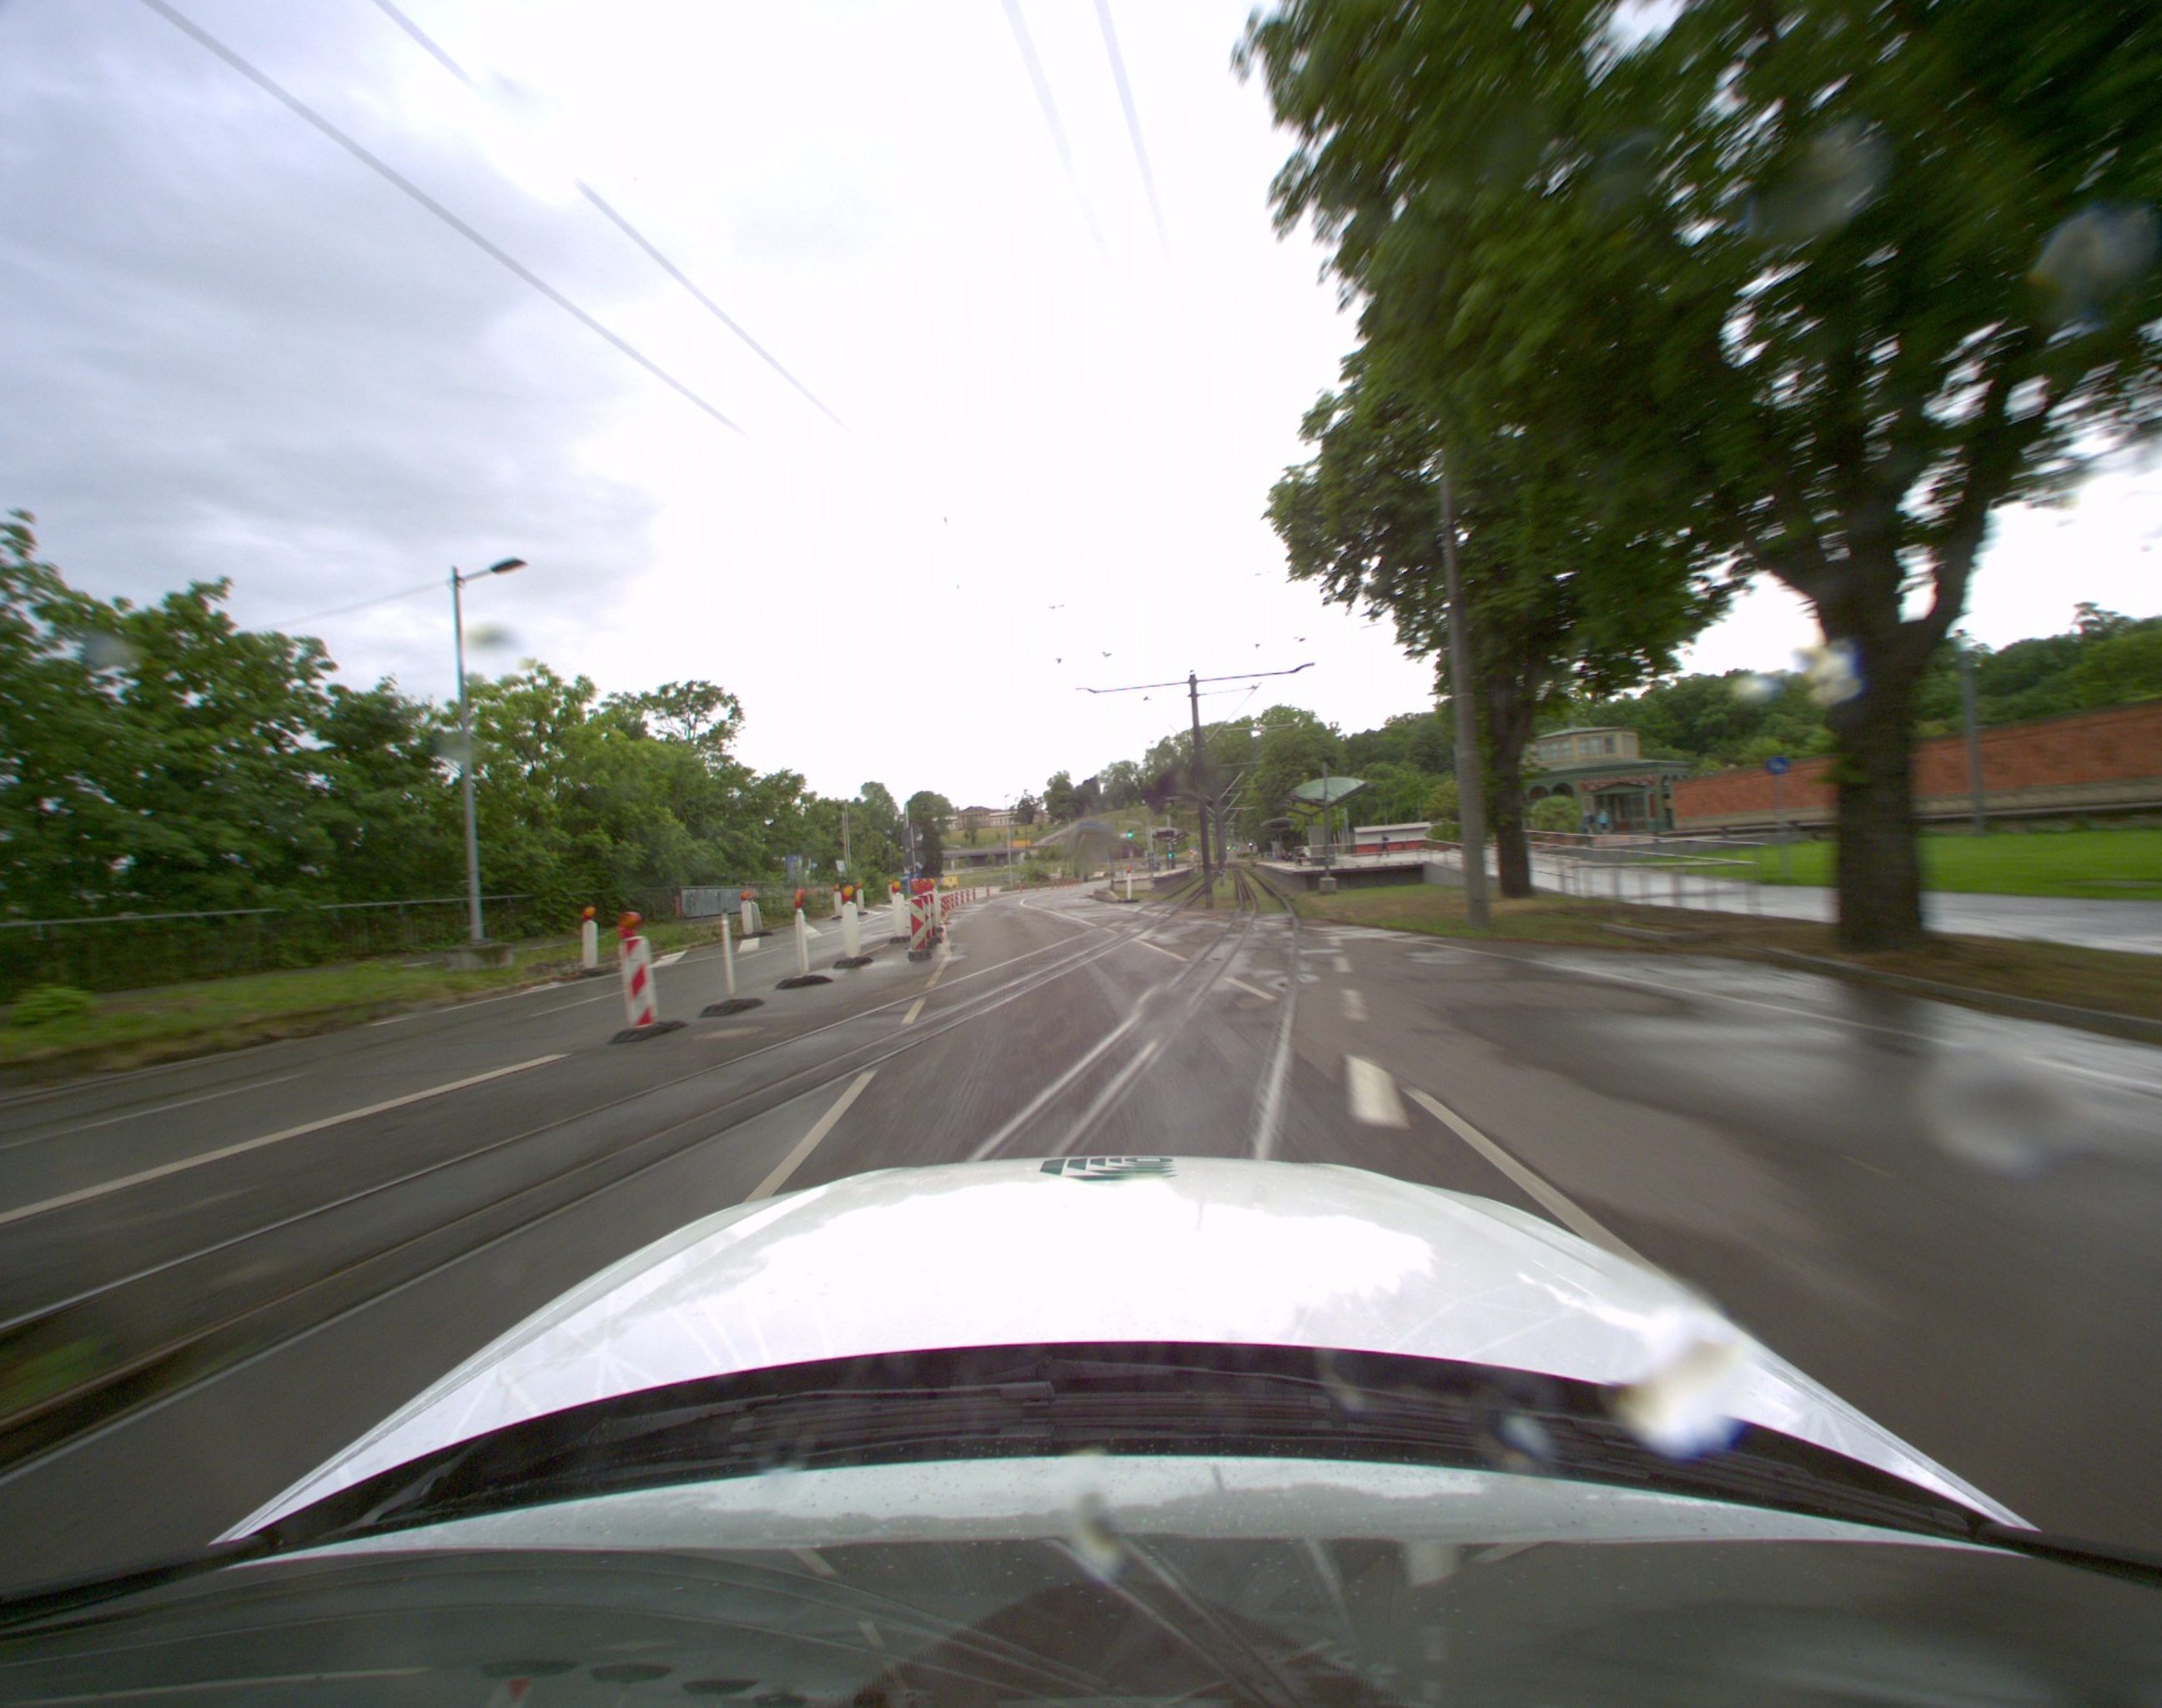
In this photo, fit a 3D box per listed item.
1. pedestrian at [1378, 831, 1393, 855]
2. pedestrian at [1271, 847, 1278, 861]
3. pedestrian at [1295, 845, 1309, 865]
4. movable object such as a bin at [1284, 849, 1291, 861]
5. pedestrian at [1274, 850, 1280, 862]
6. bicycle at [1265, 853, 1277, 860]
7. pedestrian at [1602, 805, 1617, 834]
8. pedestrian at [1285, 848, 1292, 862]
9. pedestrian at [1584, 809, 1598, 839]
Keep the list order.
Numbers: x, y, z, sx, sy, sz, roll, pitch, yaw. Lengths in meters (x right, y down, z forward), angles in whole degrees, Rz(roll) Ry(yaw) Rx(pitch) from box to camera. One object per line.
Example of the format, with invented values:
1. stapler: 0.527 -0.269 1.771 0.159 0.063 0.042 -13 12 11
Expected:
1. pedestrian: 23.484 -0.836 62.891 0.716 1.790 1.186 -7 -1 11
2. pedestrian: 17.547 -0.002 73.860 0.434 1.226 0.553 -6 -1 11
3. pedestrian: 12.094 0.061 44.562 0.599 1.119 0.519 0 -1 -6
4. movable object such as a bin: 18.458 0.063 72.780 0.434 1.009 0.684 -6 -1 11
5. pedestrian: 17.612 0.178 73.172 0.434 1.009 0.553 -6 -1 11
6. bicycle: 31.400 0.370 134.354 1.800 1.032 0.654 -6 -1 8
7. pedestrian: 31.625 -2.060 48.712 0.544 1.657 0.472 -6 -2 44
8. pedestrian: 18.786 0.092 73.796 0.434 1.226 0.553 -6 -1 11
9. pedestrian: 31.021 -1.815 49.539 0.526 1.711 0.699 -3 -2 21
